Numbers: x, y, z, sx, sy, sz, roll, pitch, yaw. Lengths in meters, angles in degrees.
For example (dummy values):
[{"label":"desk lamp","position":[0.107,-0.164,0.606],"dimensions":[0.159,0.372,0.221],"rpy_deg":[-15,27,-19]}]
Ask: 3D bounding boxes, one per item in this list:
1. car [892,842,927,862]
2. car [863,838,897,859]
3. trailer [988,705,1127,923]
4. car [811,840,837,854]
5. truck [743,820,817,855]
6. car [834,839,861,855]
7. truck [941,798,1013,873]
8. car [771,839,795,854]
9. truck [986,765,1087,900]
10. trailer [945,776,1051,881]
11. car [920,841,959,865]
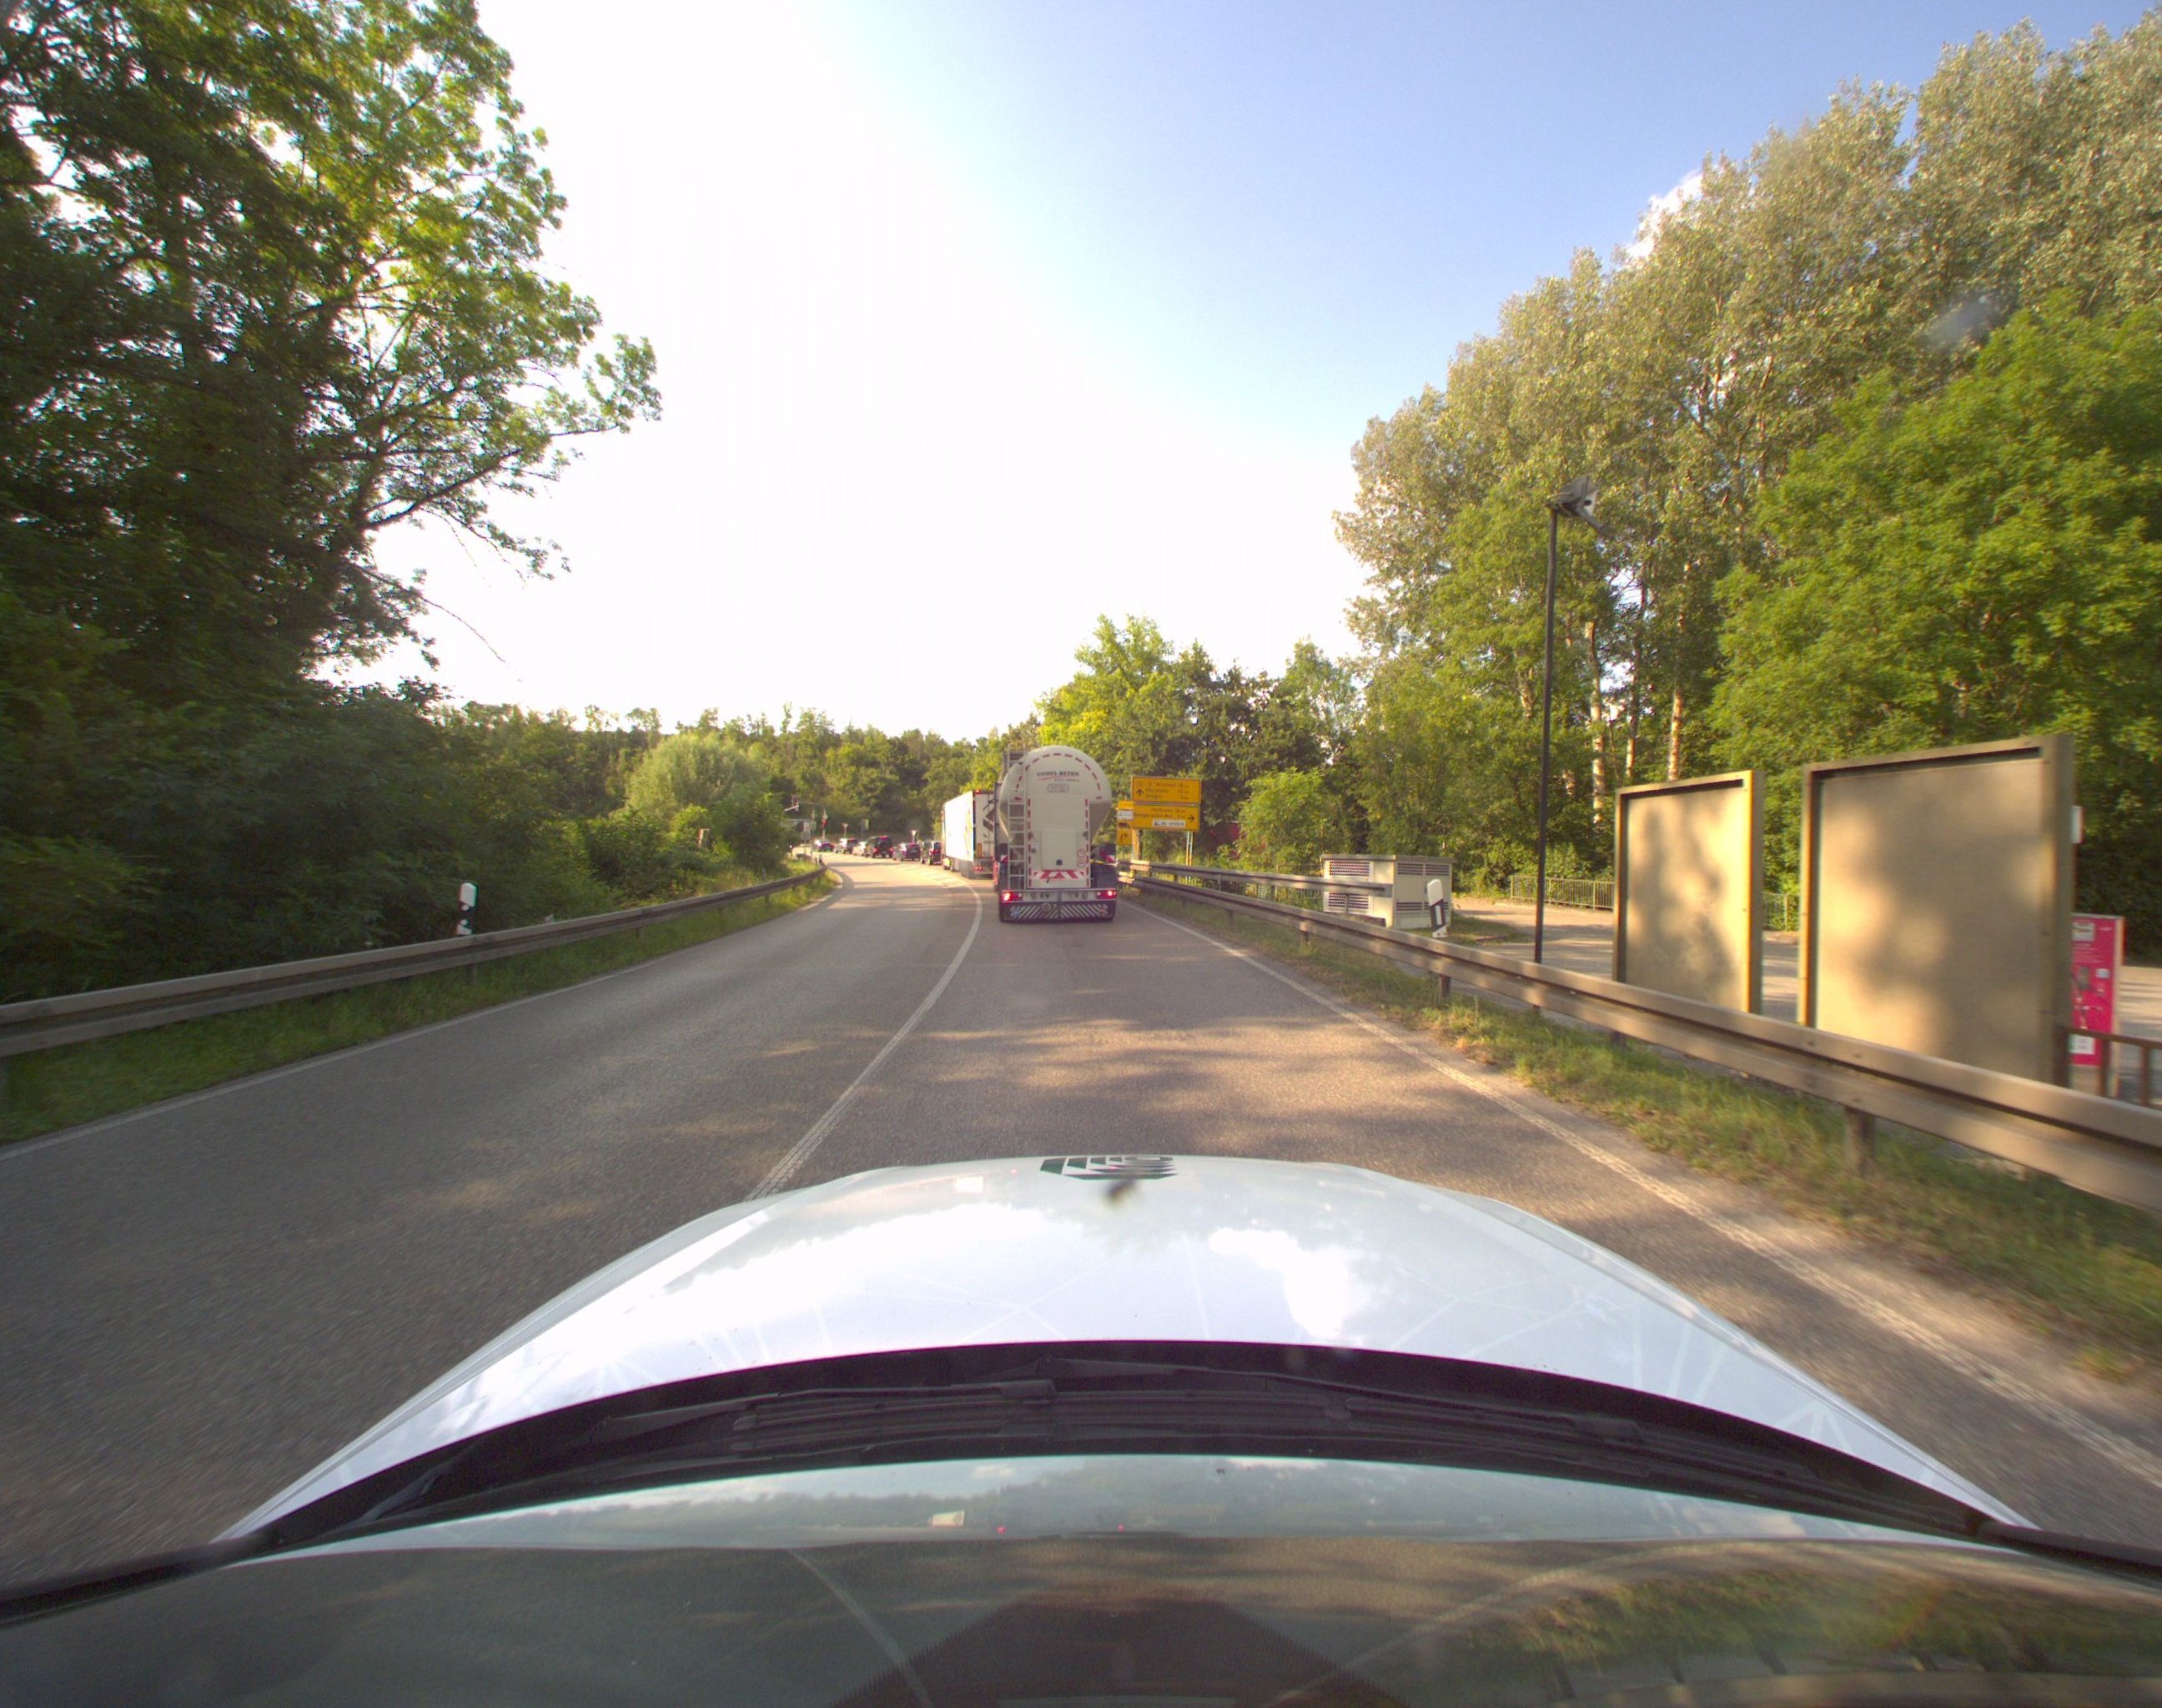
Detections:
[{"label":"car","position":[-14.059,-0.178,66.614],"dimensions":[1.877,1.564,3.966],"rpy_deg":[-2,1,-26]},{"label":"car","position":[-18.522,-0.535,74.890],"dimensions":[1.968,1.851,3.963],"rpy_deg":[-2,2,-29]},{"label":"trailer","position":[-0.959,-0.851,21.616],"dimensions":[2.883,4.454,9.585],"rpy_deg":[0,0,-6]},{"label":"car","position":[-29.953,-0.806,94.840],"dimensions":[1.880,1.565,3.961],"rpy_deg":[2,0,-31]},{"label":"truck","position":[-42.215,-2.217,114.794],"dimensions":[2.984,4.585,10.303],"rpy_deg":[1,0,28]},{"label":"car","position":[-25.108,-0.761,87.613],"dimensions":[1.879,1.595,3.962],"rpy_deg":[2,0,-30]},{"label":"truck","position":[-6.297,-1.001,48.246],"dimensions":[3.456,4.086,6.458],"rpy_deg":[1,0,-15]},{"label":"car","position":[-32.122,-0.859,87.789],"dimensions":[1.878,1.564,3.964],"rpy_deg":[-1,1,-28]},{"label":"truck","position":[-1.652,-0.671,27.384],"dimensions":[2.823,4.034,5.876],"rpy_deg":[0,0,-9]},{"label":"trailer","position":[-4.655,-1.110,41.778],"dimensions":[3.551,4.513,12.921],"rpy_deg":[1,0,-14]},{"label":"car","position":[-10.082,-0.050,57.933],"dimensions":[1.875,1.628,3.970],"rpy_deg":[1,0,-22]}]
